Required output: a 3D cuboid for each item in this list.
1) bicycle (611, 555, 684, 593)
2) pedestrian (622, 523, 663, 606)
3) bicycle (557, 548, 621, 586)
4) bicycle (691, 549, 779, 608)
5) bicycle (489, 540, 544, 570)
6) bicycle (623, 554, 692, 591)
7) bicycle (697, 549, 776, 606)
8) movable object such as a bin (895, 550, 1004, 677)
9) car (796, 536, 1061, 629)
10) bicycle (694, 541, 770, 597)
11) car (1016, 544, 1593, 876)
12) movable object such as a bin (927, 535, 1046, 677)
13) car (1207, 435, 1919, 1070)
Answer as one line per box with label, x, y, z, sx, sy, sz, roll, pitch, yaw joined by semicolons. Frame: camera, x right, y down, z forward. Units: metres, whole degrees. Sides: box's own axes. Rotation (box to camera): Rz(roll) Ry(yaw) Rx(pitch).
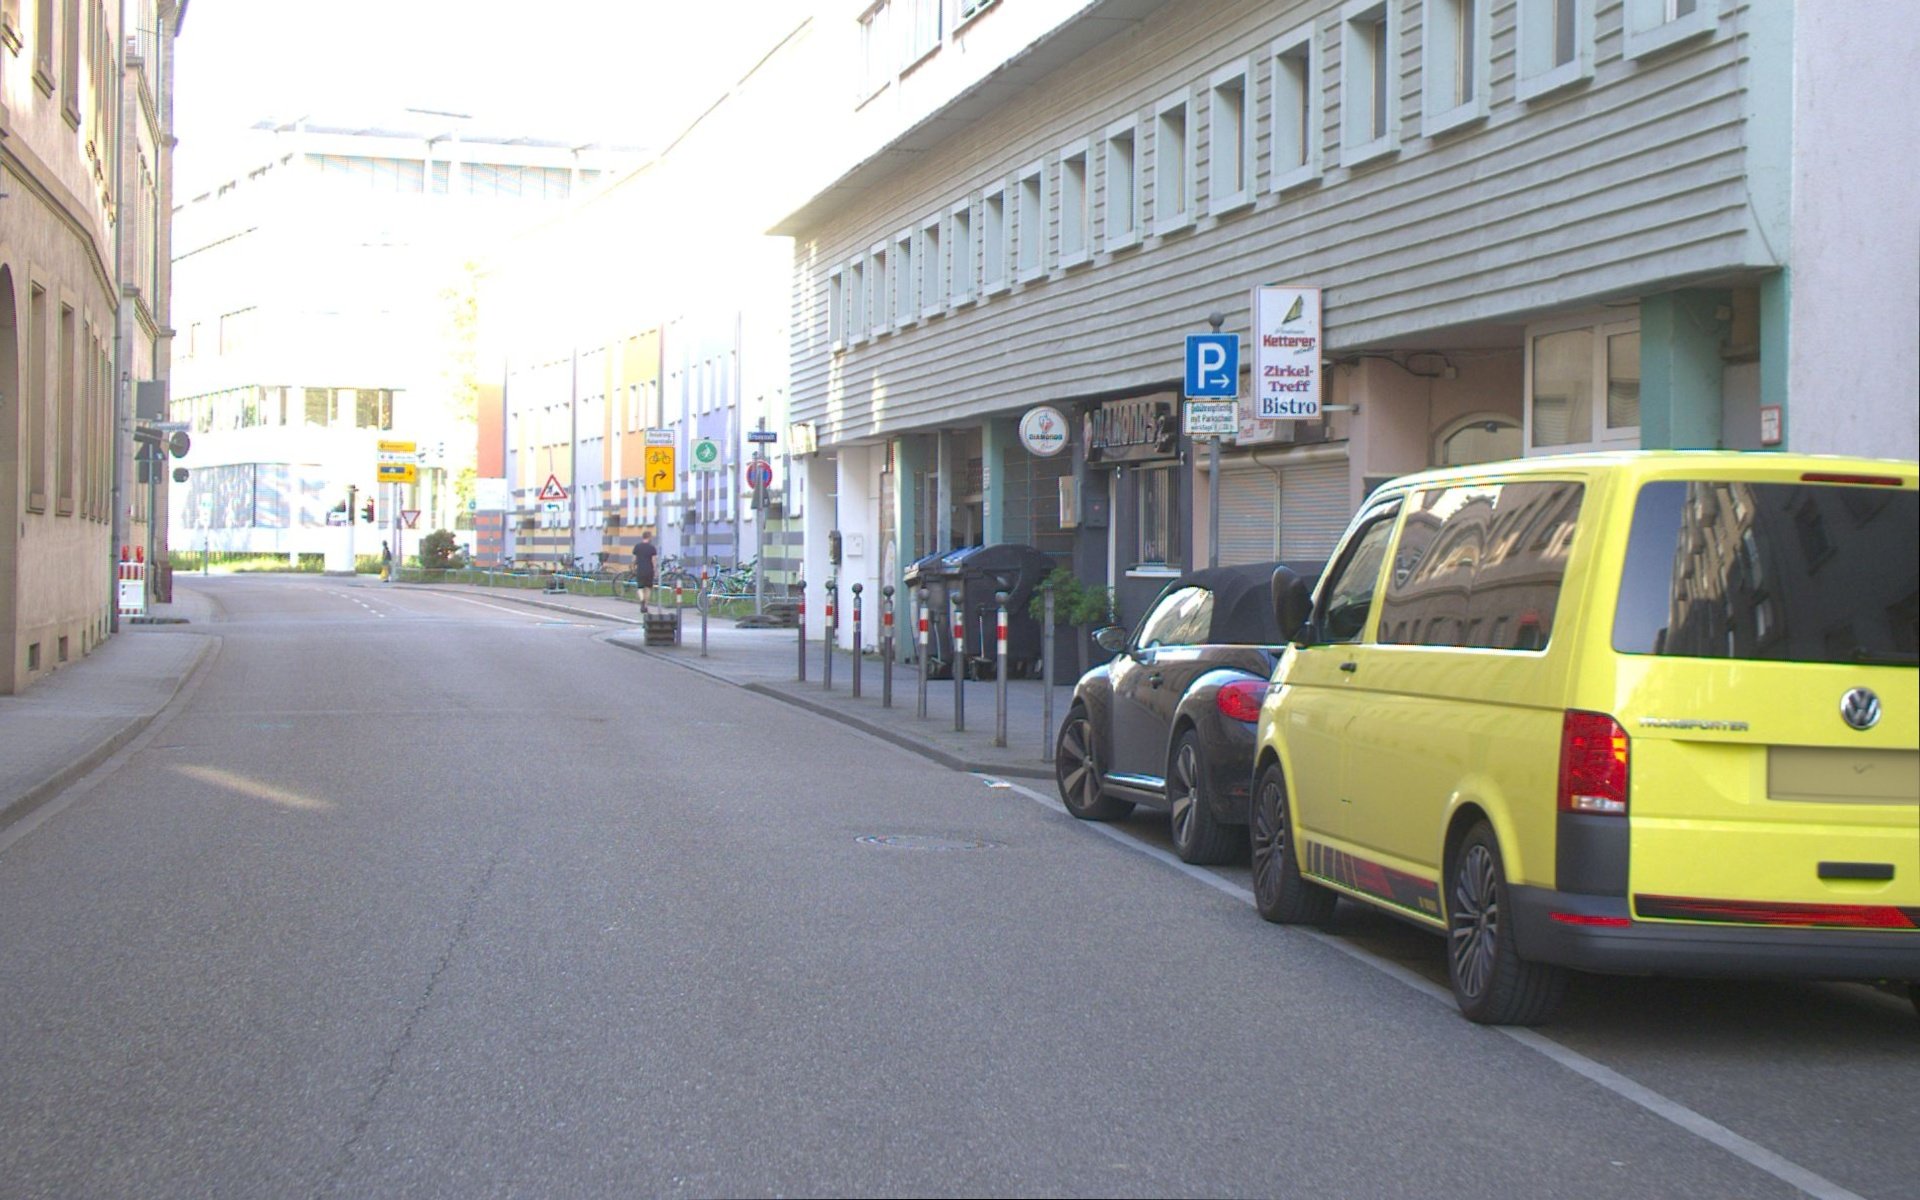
bicycle;-7.819;-0.642;85.977;1.748;0.943;0.552;0;0;-13
pedestrian;-6.852;-0.778;74.182;0.696;1.754;1.189;-2;1;-12
bicycle;-11.060;-0.989;102.465;1.810;1.133;0.552;0;0;-14
bicycle;-4.731;-0.457;72.385;1.748;1.137;0.552;-3;2;-13
bicycle;-14.973;-1.508;116.055;1.753;1.000;0.613;-1;1;-17
bicycle;-7.772;-0.709;88.340;1.748;0.943;0.335;0;0;-13
bicycle;-4.805;-0.492;73.814;1.640;1.137;0.283;-3;2;-21
movable object such as a bin;-0.124;0.158;38.375;0.981;1.380;1.321;-1;-1;-10
car;-0.540;-0.295;57.014;4.077;1.477;1.866;0;1;-12
bicycle;-4.907;-0.666;74.067;1.602;1.137;0.237;-3;2;-21
car;1.653;0.486;18.170;1.883;1.484;4.369;2;1;-10
movable object such as a bin;0.269;0.079;36.853;0.981;1.475;1.552;-1;-1;-10
car;2.364;0.423;12.722;1.883;1.875;4.847;2;1;-8
